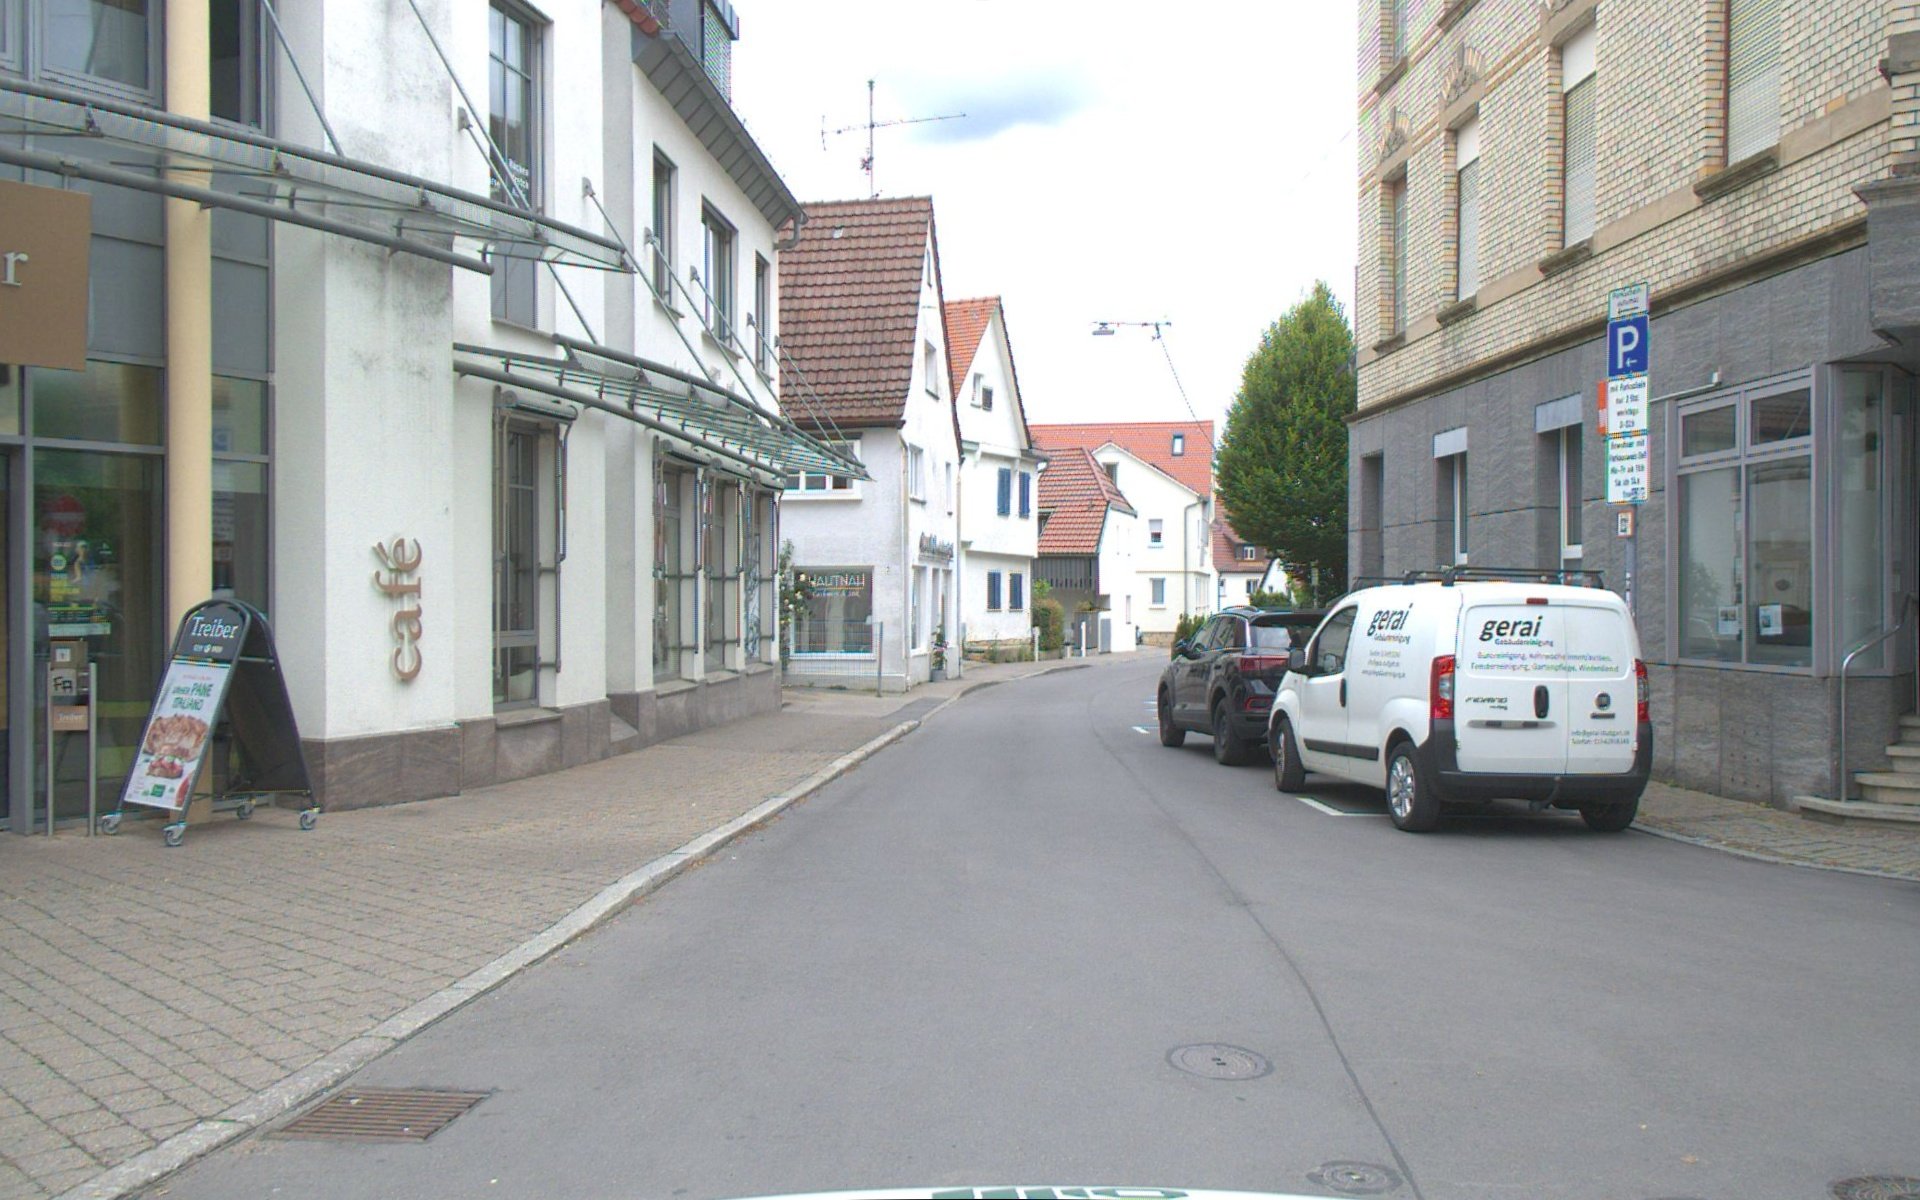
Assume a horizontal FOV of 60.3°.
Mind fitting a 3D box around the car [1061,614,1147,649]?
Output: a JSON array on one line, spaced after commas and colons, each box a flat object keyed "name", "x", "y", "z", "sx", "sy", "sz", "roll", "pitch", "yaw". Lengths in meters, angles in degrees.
[{"name": "car", "x": 6.896, "y": 1.505, "z": 78.911, "sx": 3.653, "sy": 1.436, "sz": 2.121, "roll": 2, "pitch": -2, "yaw": 19}]

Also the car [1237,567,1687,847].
[{"name": "car", "x": 3.681, "y": 0.700, "z": 12.998, "sx": 1.791, "sy": 1.823, "sz": 4.211, "roll": 0, "pitch": 0, "yaw": -8}]

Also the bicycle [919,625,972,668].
[{"name": "bicycle", "x": -0.370, "y": 1.230, "z": 43.871, "sx": 0.434, "sy": 1.057, "sz": 2.089, "roll": 4, "pitch": 2, "yaw": 28}]

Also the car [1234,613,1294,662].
[{"name": "car", "x": 10.912, "y": 1.324, "z": 59.128, "sx": 1.823, "sy": 1.662, "sz": 4.905, "roll": 0, "pitch": -1, "yaw": 14}]

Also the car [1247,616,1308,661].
[{"name": "car", "x": 12.473, "y": 1.472, "z": 64.806, "sx": 1.951, "sy": 1.644, "sz": 4.881, "roll": 1, "pitch": 0, "yaw": 15}]

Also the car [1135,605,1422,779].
[{"name": "car", "x": 3.257, "y": 0.889, "z": 17.857, "sx": 1.754, "sy": 1.628, "sz": 4.535, "roll": 1, "pitch": -1, "yaw": -7}]
